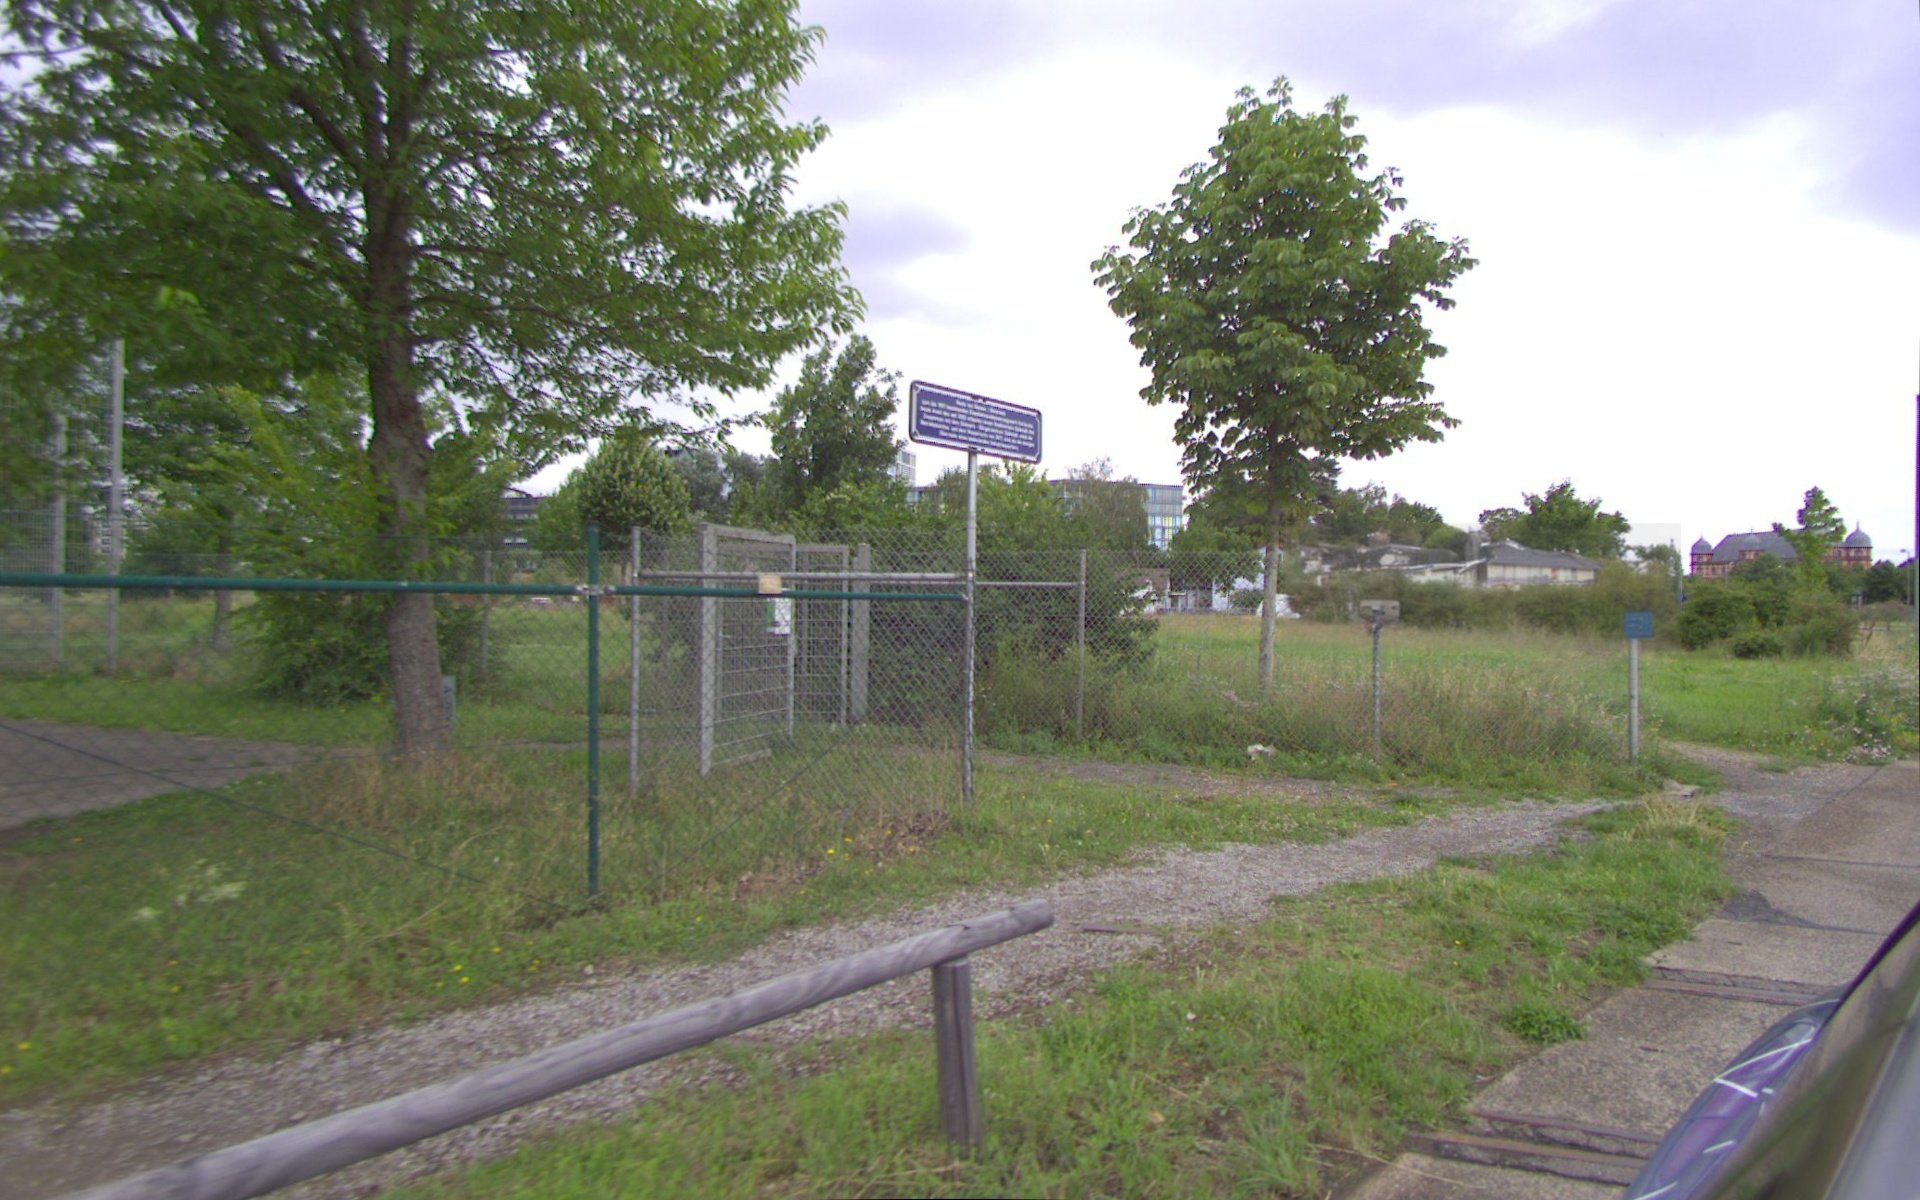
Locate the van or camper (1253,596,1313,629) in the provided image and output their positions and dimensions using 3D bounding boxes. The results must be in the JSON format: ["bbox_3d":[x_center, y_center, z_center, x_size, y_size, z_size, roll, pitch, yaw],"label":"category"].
[{"bbox_3d":[29.728,1.176,93.222,5.114,2.868,2.400,1,-1,20],"label":"van or camper"}]

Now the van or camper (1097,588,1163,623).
[{"bbox_3d":[16.374,0.564,97.602,5.991,3.151,2.258,1,-1,17],"label":"van or camper"}]

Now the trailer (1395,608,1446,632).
[{"bbox_3d":[40.833,1.772,89.815,3.946,2.039,1.633,1,-1,18],"label":"trailer"}]

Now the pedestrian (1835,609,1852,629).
[{"bbox_3d":[81.438,1.727,93.261,0.835,1.805,1.070,1,-1,18],"label":"pedestrian"}]
